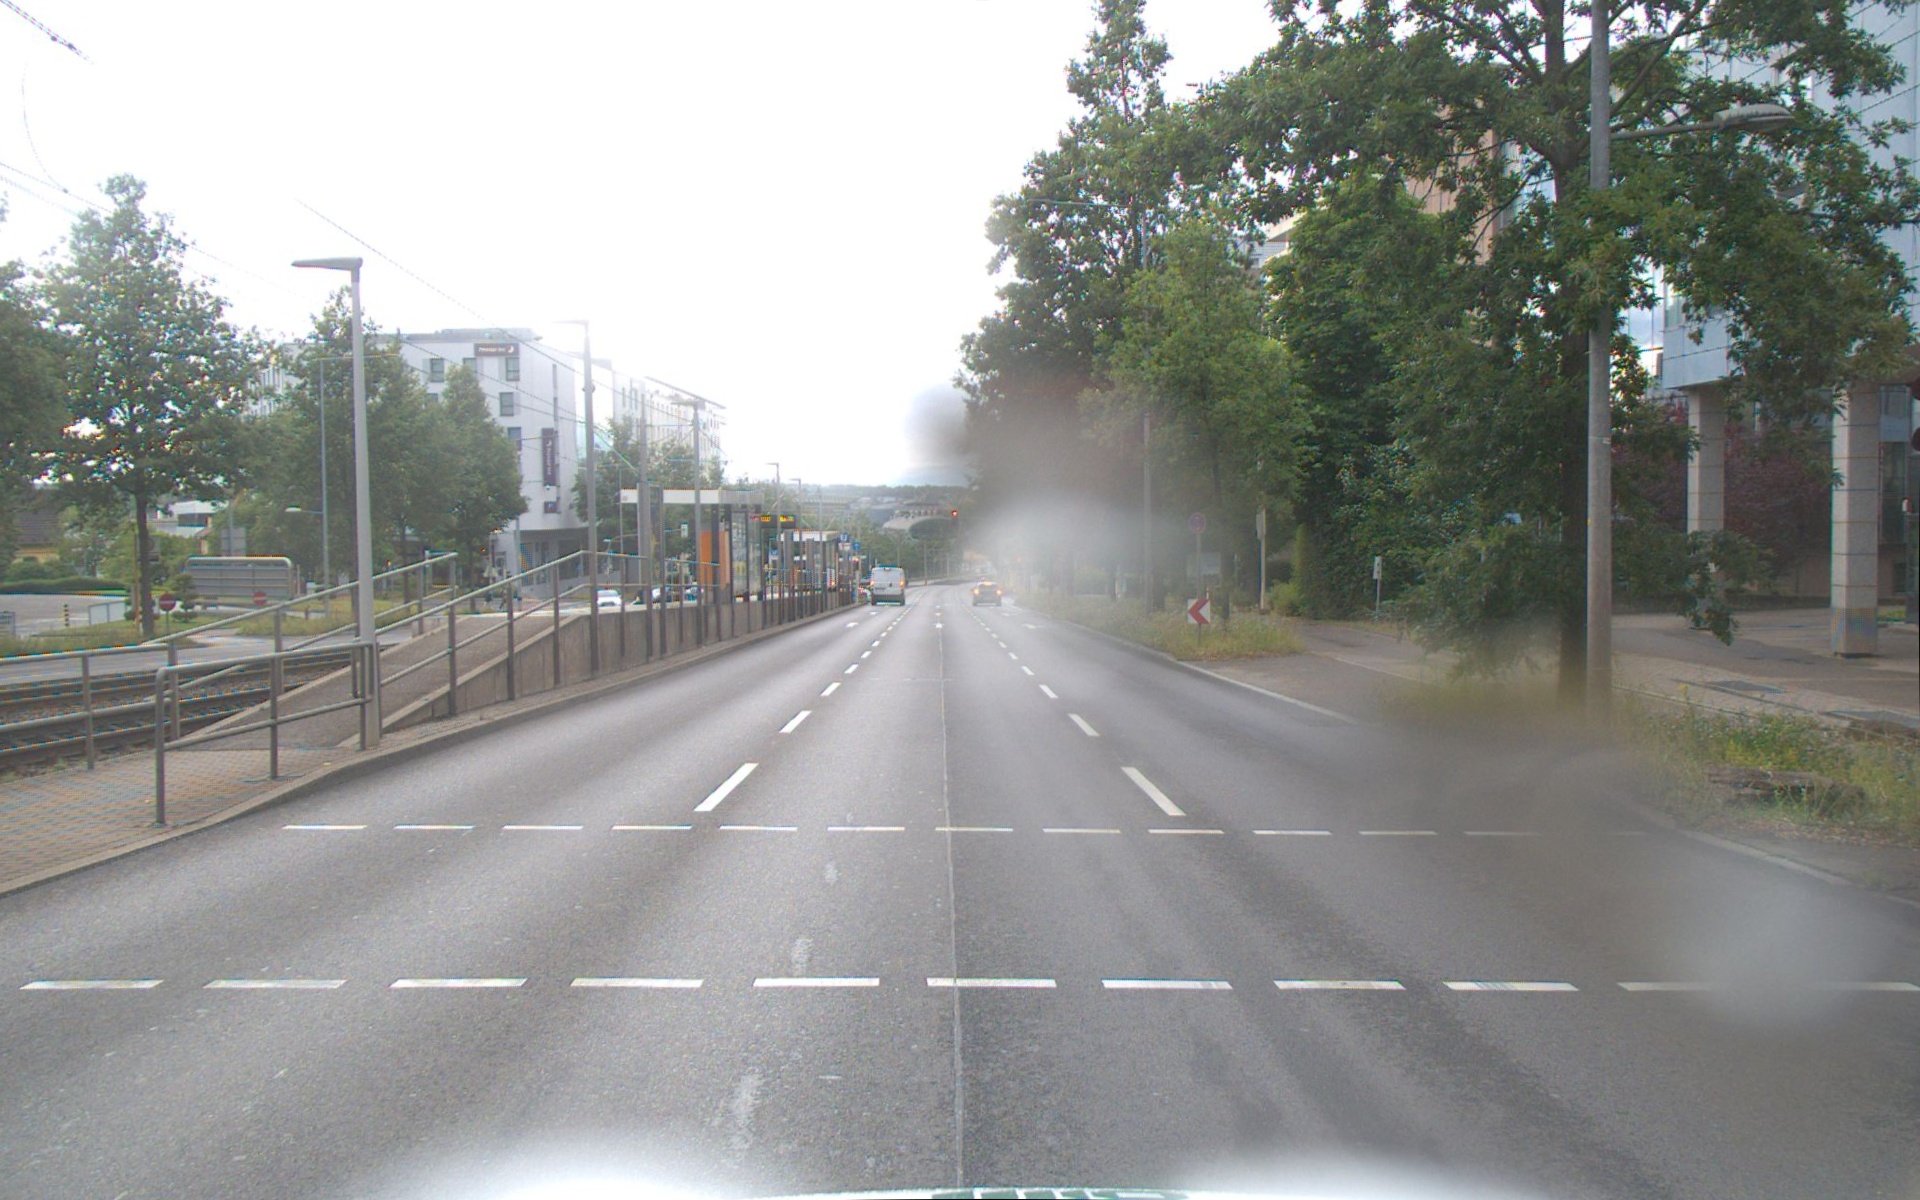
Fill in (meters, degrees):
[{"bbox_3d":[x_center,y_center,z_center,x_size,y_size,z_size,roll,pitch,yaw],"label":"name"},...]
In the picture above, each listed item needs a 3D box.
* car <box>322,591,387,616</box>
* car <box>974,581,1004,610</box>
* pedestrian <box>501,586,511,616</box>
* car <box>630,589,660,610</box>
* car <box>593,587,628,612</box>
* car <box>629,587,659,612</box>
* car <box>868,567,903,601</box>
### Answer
[{"bbox_3d":[-34.960,0.207,95.533,3.297,1.411,1.434,0,1,16],"label":"car"},{"bbox_3d":[1.779,-0.297,102.800,1.738,1.720,3.845,0,1,-1],"label":"car"},{"bbox_3d":[-29.436,0.082,107.224,0.465,1.954,0.490,0,0,-1],"label":"pedestrian"},{"bbox_3d":[-21.711,-0.023,113.980,1.536,1.402,3.517,0,1,-3],"label":"car"},{"bbox_3d":[-22.633,-0.046,107.270,1.618,1.461,3.877,-2,1,-4],"label":"car"},{"bbox_3d":[-19.547,-0.049,102.215,1.622,1.461,3.866,-2,1,-14],"label":"car"},{"bbox_3d":[-4.577,-0.982,102.293,2.050,2.089,4.605,0,1,-1],"label":"car"}]
